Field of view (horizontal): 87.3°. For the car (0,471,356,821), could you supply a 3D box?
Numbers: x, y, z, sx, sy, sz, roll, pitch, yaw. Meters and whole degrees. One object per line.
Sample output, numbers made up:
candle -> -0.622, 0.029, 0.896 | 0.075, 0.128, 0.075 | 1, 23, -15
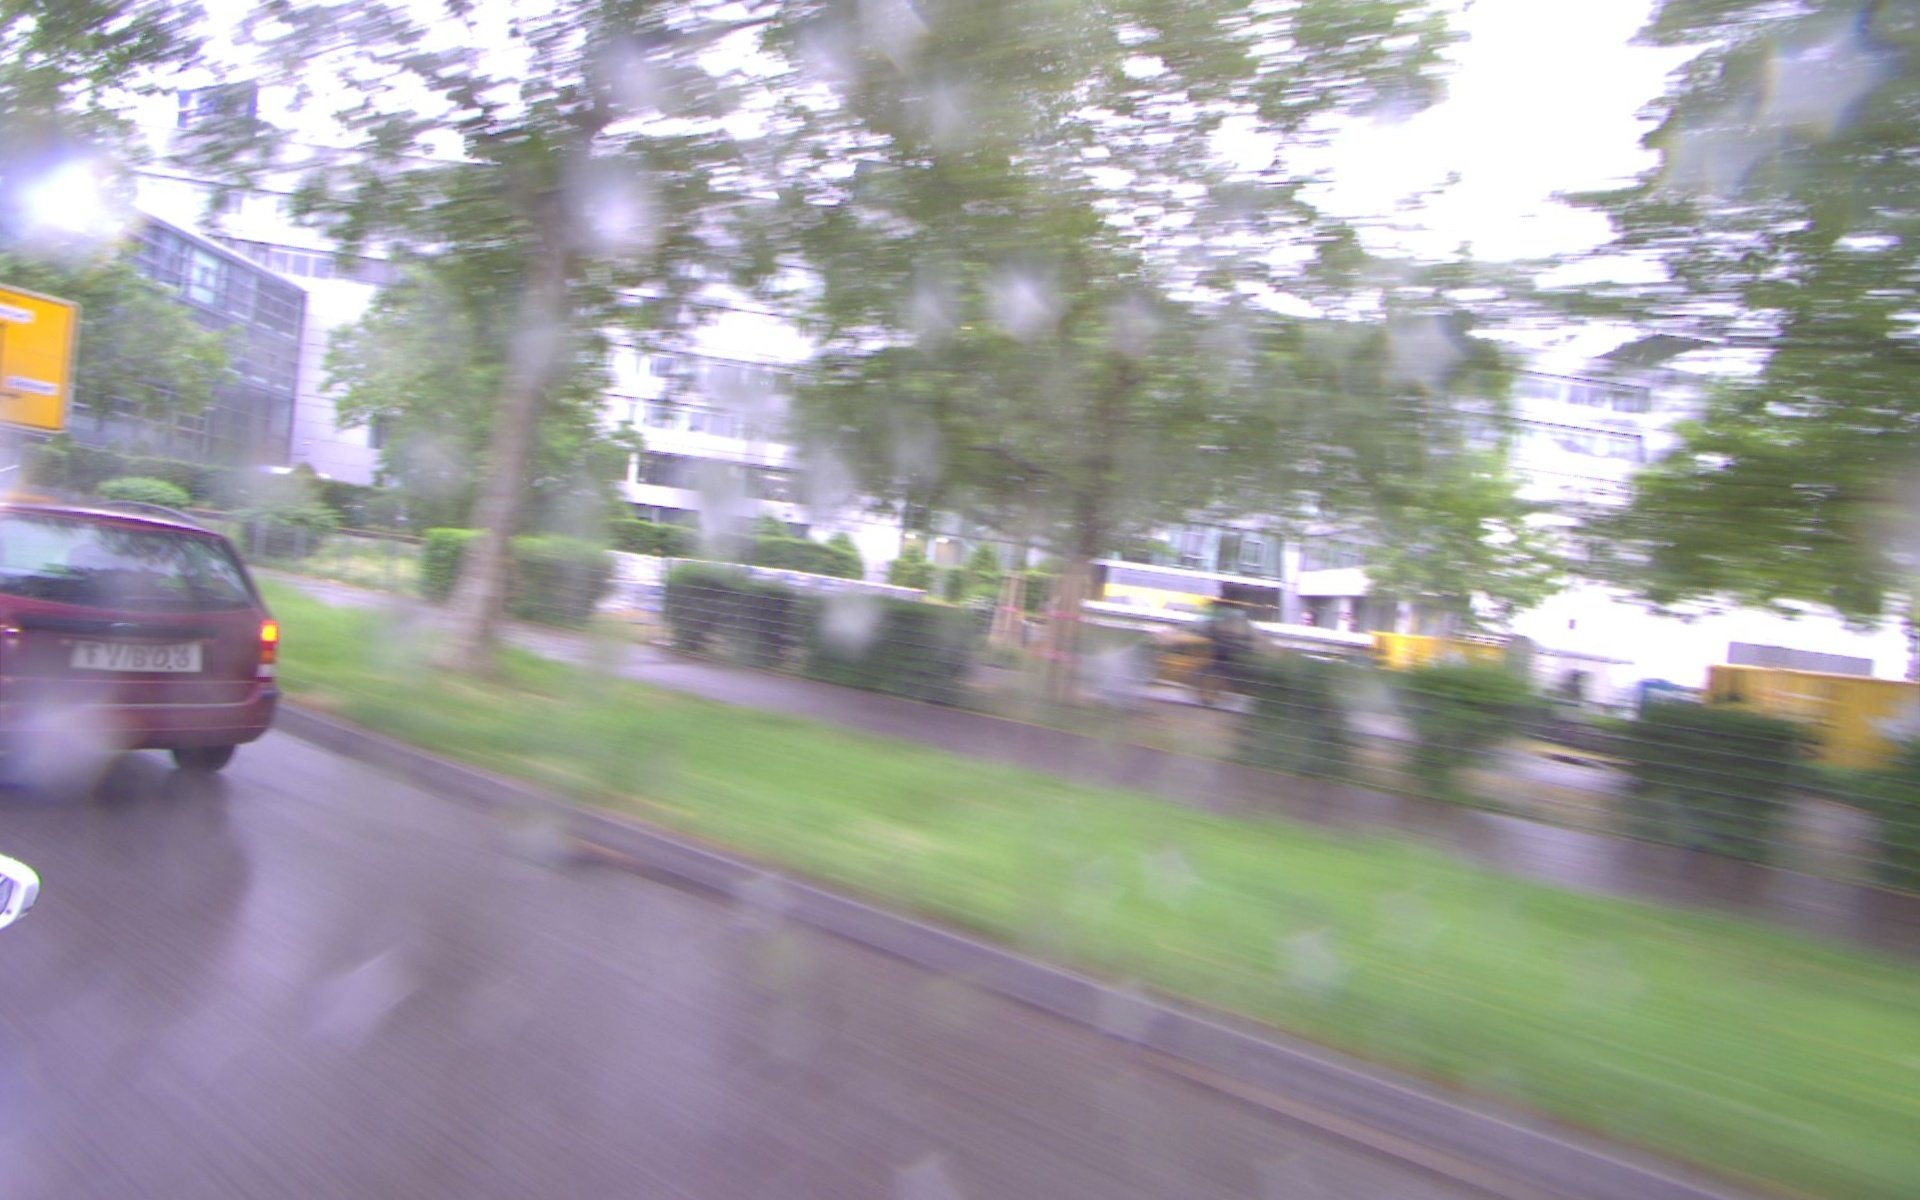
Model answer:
car -> -5.688, 0.062, 5.981 | 4.043, 1.555, 1.842 | 7, -1, 32

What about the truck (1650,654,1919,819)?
truck -> 20.400, 3.021, 22.295 | 3.025, 3.067, 9.502 | 6, -2, -3
